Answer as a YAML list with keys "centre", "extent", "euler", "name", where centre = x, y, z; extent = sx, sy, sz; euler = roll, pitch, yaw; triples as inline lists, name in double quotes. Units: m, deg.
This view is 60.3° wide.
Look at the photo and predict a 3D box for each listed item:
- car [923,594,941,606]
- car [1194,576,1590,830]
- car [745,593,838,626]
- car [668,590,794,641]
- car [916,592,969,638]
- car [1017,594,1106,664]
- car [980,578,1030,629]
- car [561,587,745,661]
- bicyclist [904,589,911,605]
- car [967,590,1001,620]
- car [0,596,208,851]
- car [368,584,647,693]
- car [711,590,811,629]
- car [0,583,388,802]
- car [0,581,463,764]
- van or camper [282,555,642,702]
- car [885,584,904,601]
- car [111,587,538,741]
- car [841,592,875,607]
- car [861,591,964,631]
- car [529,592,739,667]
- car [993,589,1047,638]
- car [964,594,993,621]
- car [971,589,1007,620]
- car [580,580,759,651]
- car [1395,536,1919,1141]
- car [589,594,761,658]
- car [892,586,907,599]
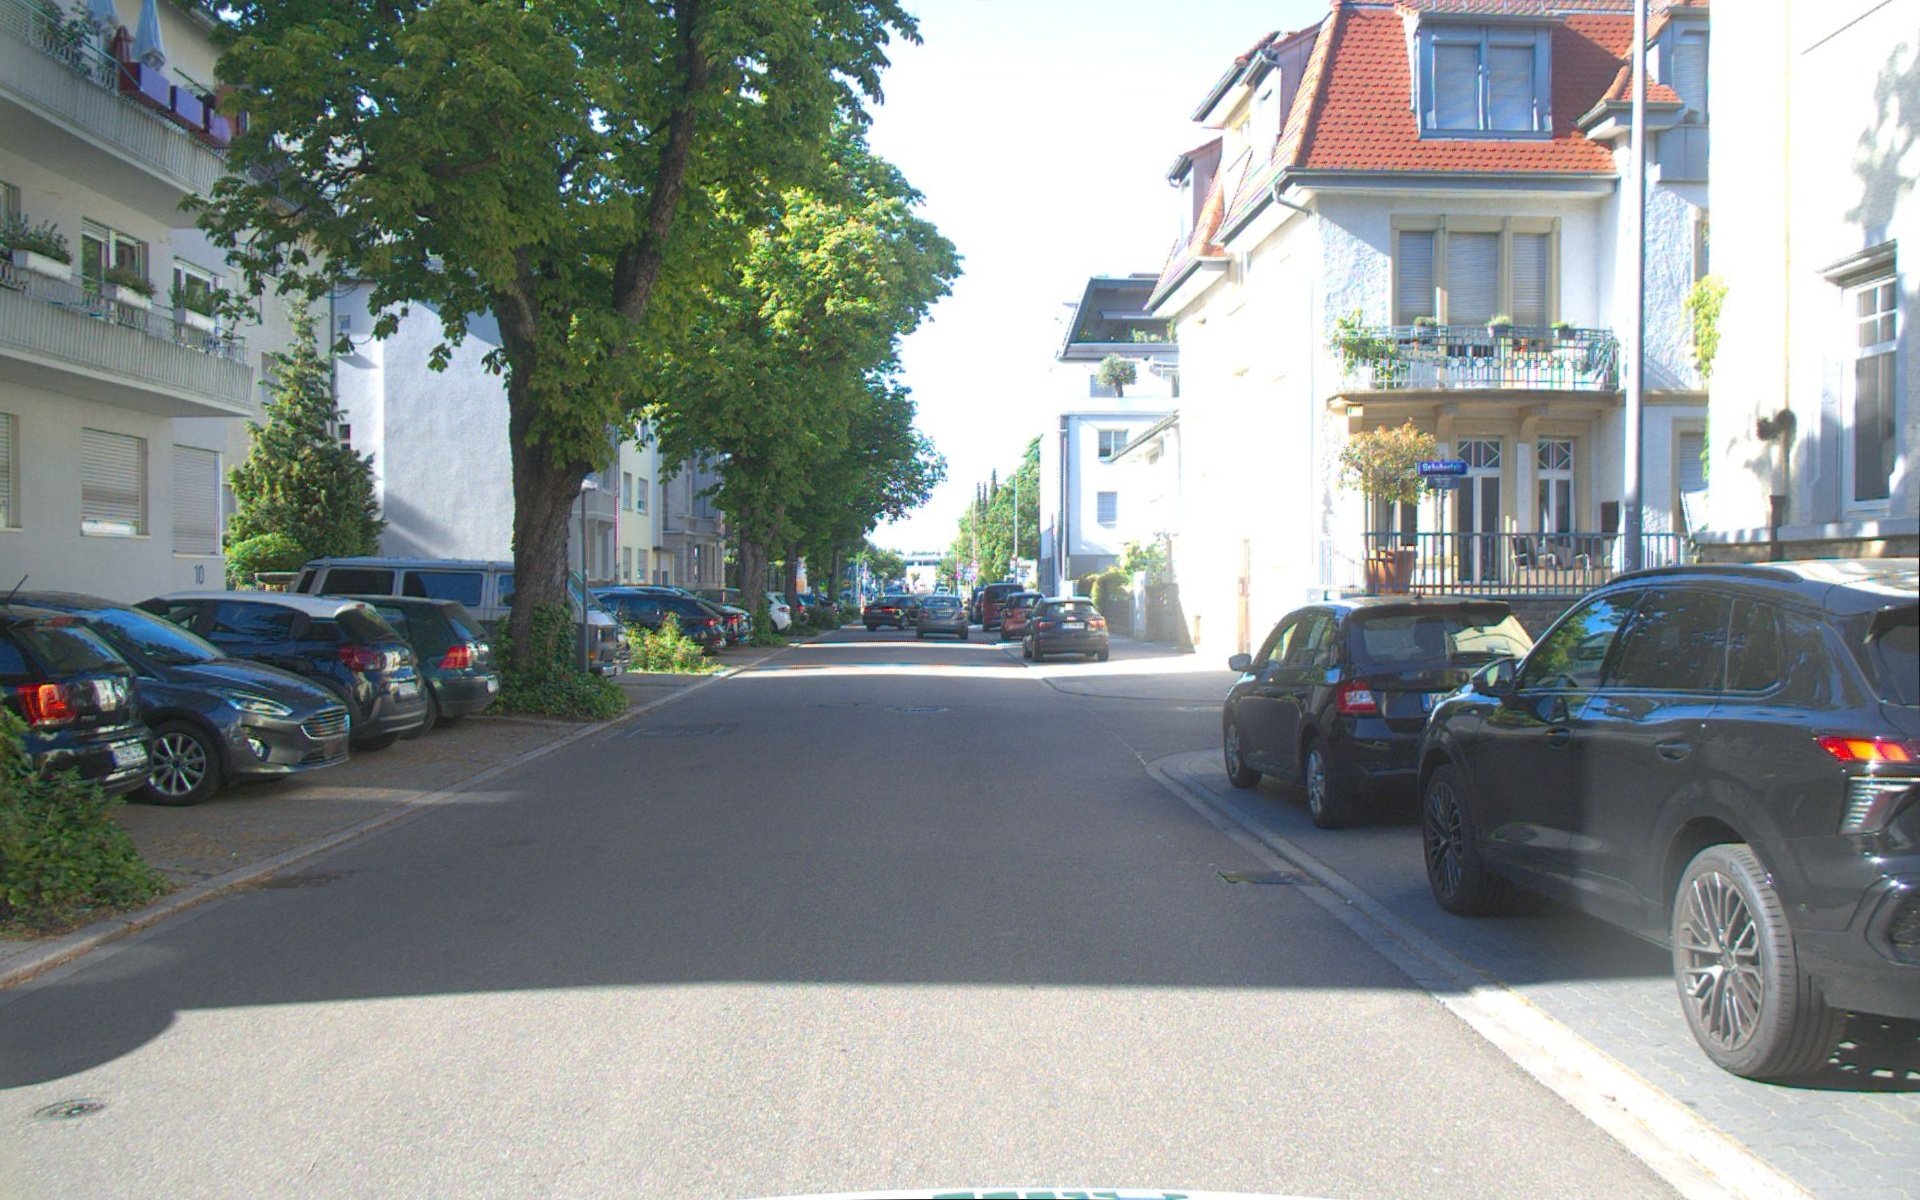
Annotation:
- centre: [-3.042, -0.018, 178.790]
  extent: [1.689, 1.353, 3.995]
  euler: [0, 0, -6]
  name: "car"
- centre: [2.992, 0.671, 12.352]
  extent: [1.629, 1.547, 3.998]
  euler: [-1, -1, -4]
  name: "car"
- centre: [-8.155, 0.451, 80.413]
  extent: [4.385, 1.505, 1.867]
  euler: [1, -1, -3]
  name: "car"
- centre: [-7.602, 0.502, 55.128]
  extent: [3.942, 1.510, 1.806]
  euler: [2, 0, -2]
  name: "car"
- centre: [-0.578, 0.519, 56.526]
  extent: [1.691, 1.445, 3.959]
  euler: [2, -1, 0]
  name: "car"
- centre: [2.307, 0.624, 38.355]
  extent: [1.587, 1.465, 3.932]
  euler: [-2, 1, -3]
  name: "car"
- centre: [1.794, 0.165, 67.194]
  extent: [1.833, 1.938, 5.197]
  euler: [-1, 0, 0]
  name: "car"
- centre: [-6.976, 0.528, 37.907]
  extent: [3.907, 1.620, 1.877]
  euler: [0, 0, -3]
  name: "car"
- centre: [-5.016, -0.305, 158.281]
  extent: [0.706, 1.564, 1.137]
  euler: [0, 0, -1]
  name: "bicyclist"
- centre: [1.289, 0.293, 89.942]
  extent: [1.648, 1.460, 4.264]
  euler: [-4, -1, -1]
  name: "car"
- centre: [-6.731, 0.678, 10.170]
  extent: [3.412, 1.445, 1.708]
  euler: [2, -1, -7]
  name: "car"
- centre: [-7.001, 0.574, 25.842]
  extent: [3.864, 1.524, 1.662]
  euler: [2, 1, 1]
  name: "car"
- centre: [-8.127, 0.371, 67.718]
  extent: [3.907, 1.446, 1.770]
  euler: [1, 1, -2]
  name: "car"
- centre: [-6.489, 0.642, 12.650]
  extent: [3.569, 1.488, 1.710]
  euler: [2, 0, 0]
  name: "car"
- centre: [-6.561, 0.633, 15.189]
  extent: [3.407, 1.483, 1.797]
  euler: [2, 0, 0]
  name: "car"
- centre: [-6.819, 0.387, 23.016]
  extent: [4.406, 1.948, 1.963]
  euler: [0, 0, -2]
  name: "van or camper"
- centre: [-6.991, -0.801, 176.257]
  extent: [1.836, 1.758, 3.995]
  euler: [0, 0, -6]
  name: "car"
- centre: [-6.634, 0.644, 17.592]
  extent: [3.844, 1.439, 1.714]
  euler: [2, 1, -4]
  name: "car"
- centre: [-10.518, -0.064, 171.026]
  extent: [3.428, 1.560, 1.642]
  euler: [0, 0, -8]
  name: "car"
- centre: [-1.923, 0.470, 67.800]
  extent: [4.170, 1.473, 1.685]
  euler: [3, -1, -44]
  name: "car"
- centre: [-6.850, 0.605, 35.081]
  extent: [4.103, 1.525, 1.860]
  euler: [0, 0, -3]
  name: "car"
- centre: [1.953, 0.425, 54.795]
  extent: [1.560, 1.506, 3.246]
  euler: [-2, 0, -1]
  name: "car"
- centre: [1.044, 0.444, 94.133]
  extent: [1.532, 1.435, 3.729]
  euler: [-4, -1, 0]
  name: "car"
- centre: [1.460, 0.215, 84.003]
  extent: [1.701, 1.558, 4.177]
  euler: [0, 0, -1]
  name: "car"
- centre: [-7.540, 0.387, 43.200]
  extent: [4.296, 1.681, 1.823]
  euler: [-1, 1, 0]
  name: "car"
- centre: [3.218, 0.622, 6.460]
  extent: [1.755, 1.547, 4.365]
  euler: [-1, -1, -2]
  name: "car"
- centre: [-6.861, 0.613, 40.135]
  extent: [3.906, 1.494, 1.696]
  euler: [0, 0, -2]
  name: "car"
- centre: [-7.279, -0.948, 200.186]
  extent: [1.751, 1.559, 3.998]
  euler: [0, 0, -3]
  name: "car"
